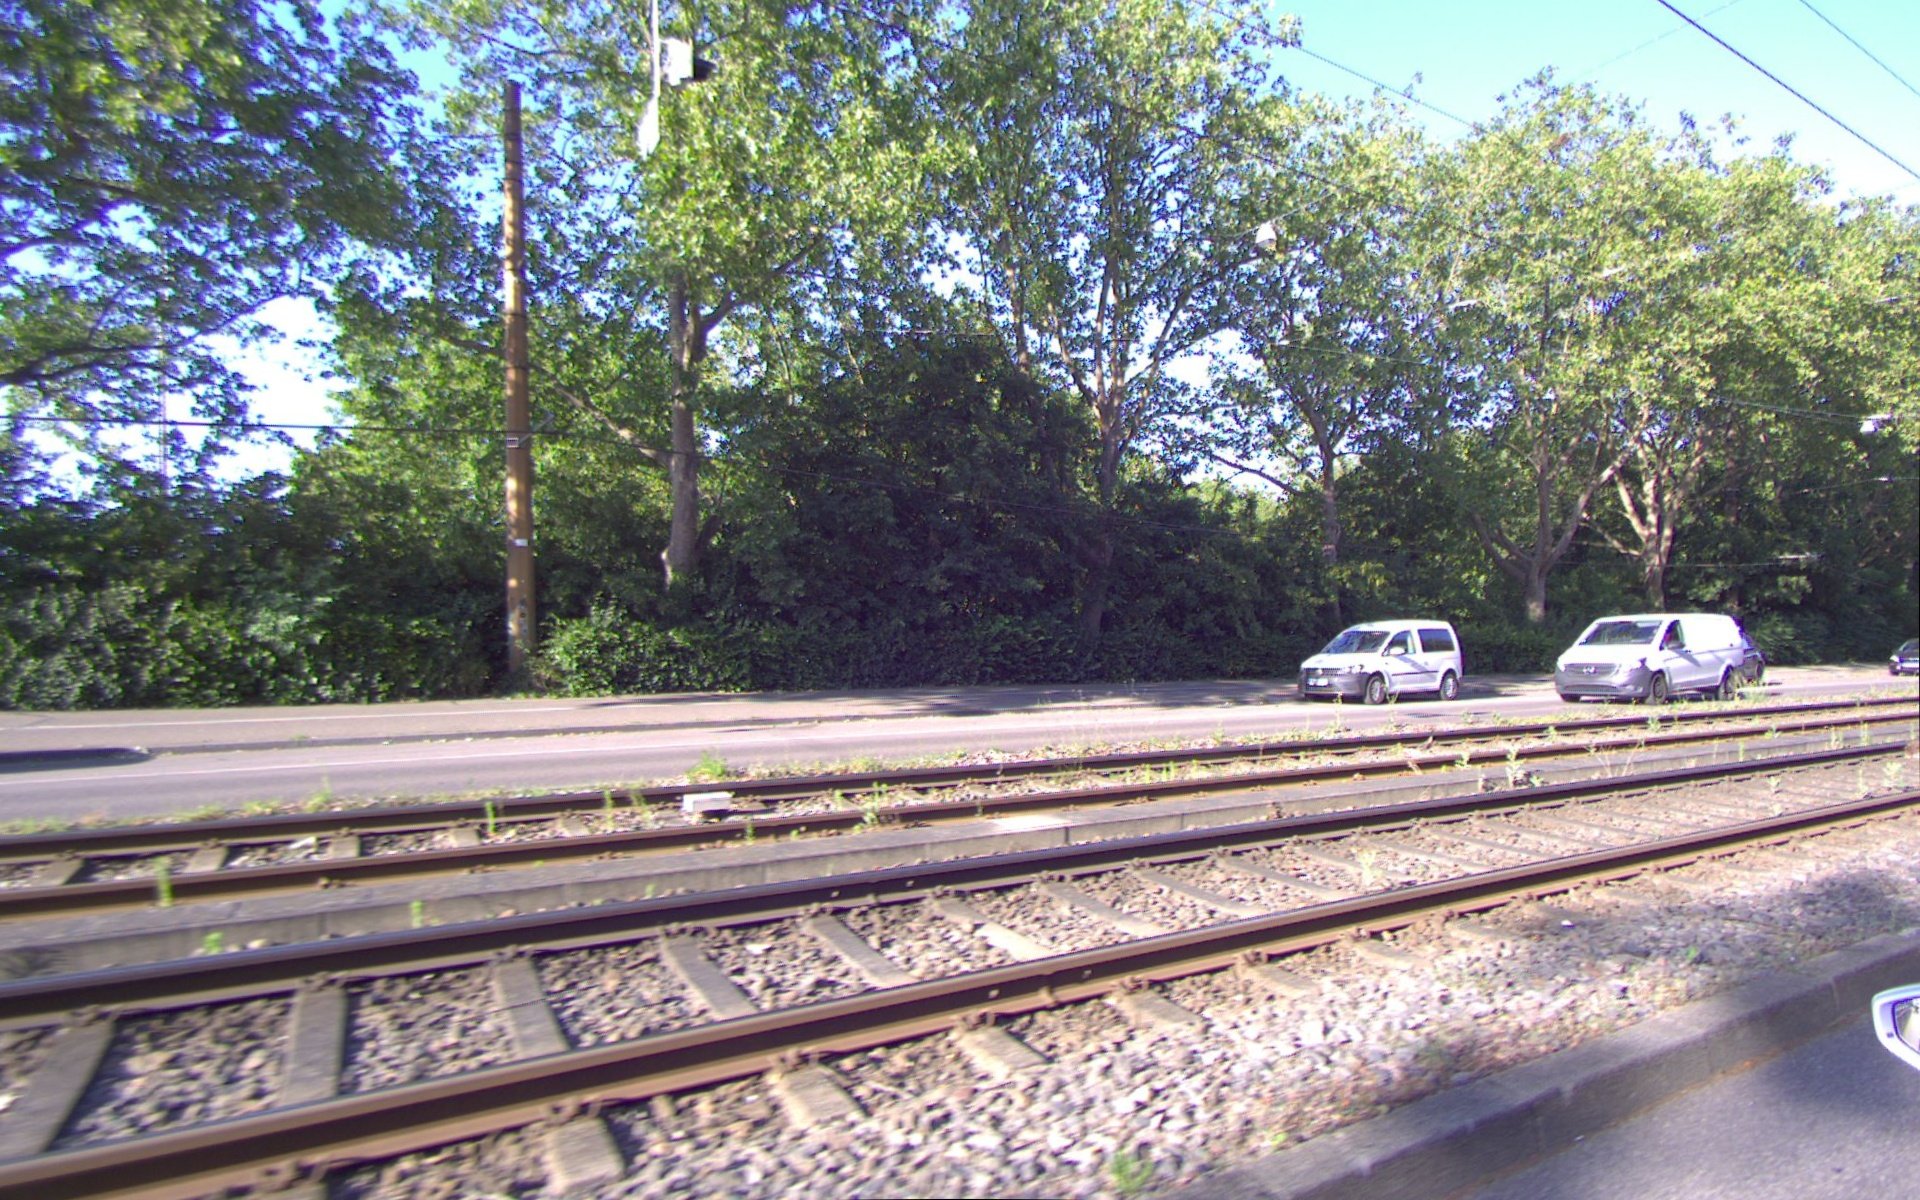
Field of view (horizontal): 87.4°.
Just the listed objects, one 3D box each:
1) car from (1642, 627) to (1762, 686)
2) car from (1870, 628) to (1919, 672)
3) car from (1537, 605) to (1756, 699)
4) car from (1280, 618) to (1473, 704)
[{"bbox_3d":[22.366,1.665,30.250,3.960,1.658,1.730,1,-2,-35],"label":"car"},{"bbox_3d":[39.159,1.993,40.828,4.691,1.719,1.983,1,-2,-32],"label":"car"},{"bbox_3d":[15.220,1.158,22.194,5.242,1.868,1.984,1,-4,-32],"label":"car"},{"bbox_3d":[9.425,1.344,22.635,4.465,1.766,1.732,1,-4,-33],"label":"car"}]
